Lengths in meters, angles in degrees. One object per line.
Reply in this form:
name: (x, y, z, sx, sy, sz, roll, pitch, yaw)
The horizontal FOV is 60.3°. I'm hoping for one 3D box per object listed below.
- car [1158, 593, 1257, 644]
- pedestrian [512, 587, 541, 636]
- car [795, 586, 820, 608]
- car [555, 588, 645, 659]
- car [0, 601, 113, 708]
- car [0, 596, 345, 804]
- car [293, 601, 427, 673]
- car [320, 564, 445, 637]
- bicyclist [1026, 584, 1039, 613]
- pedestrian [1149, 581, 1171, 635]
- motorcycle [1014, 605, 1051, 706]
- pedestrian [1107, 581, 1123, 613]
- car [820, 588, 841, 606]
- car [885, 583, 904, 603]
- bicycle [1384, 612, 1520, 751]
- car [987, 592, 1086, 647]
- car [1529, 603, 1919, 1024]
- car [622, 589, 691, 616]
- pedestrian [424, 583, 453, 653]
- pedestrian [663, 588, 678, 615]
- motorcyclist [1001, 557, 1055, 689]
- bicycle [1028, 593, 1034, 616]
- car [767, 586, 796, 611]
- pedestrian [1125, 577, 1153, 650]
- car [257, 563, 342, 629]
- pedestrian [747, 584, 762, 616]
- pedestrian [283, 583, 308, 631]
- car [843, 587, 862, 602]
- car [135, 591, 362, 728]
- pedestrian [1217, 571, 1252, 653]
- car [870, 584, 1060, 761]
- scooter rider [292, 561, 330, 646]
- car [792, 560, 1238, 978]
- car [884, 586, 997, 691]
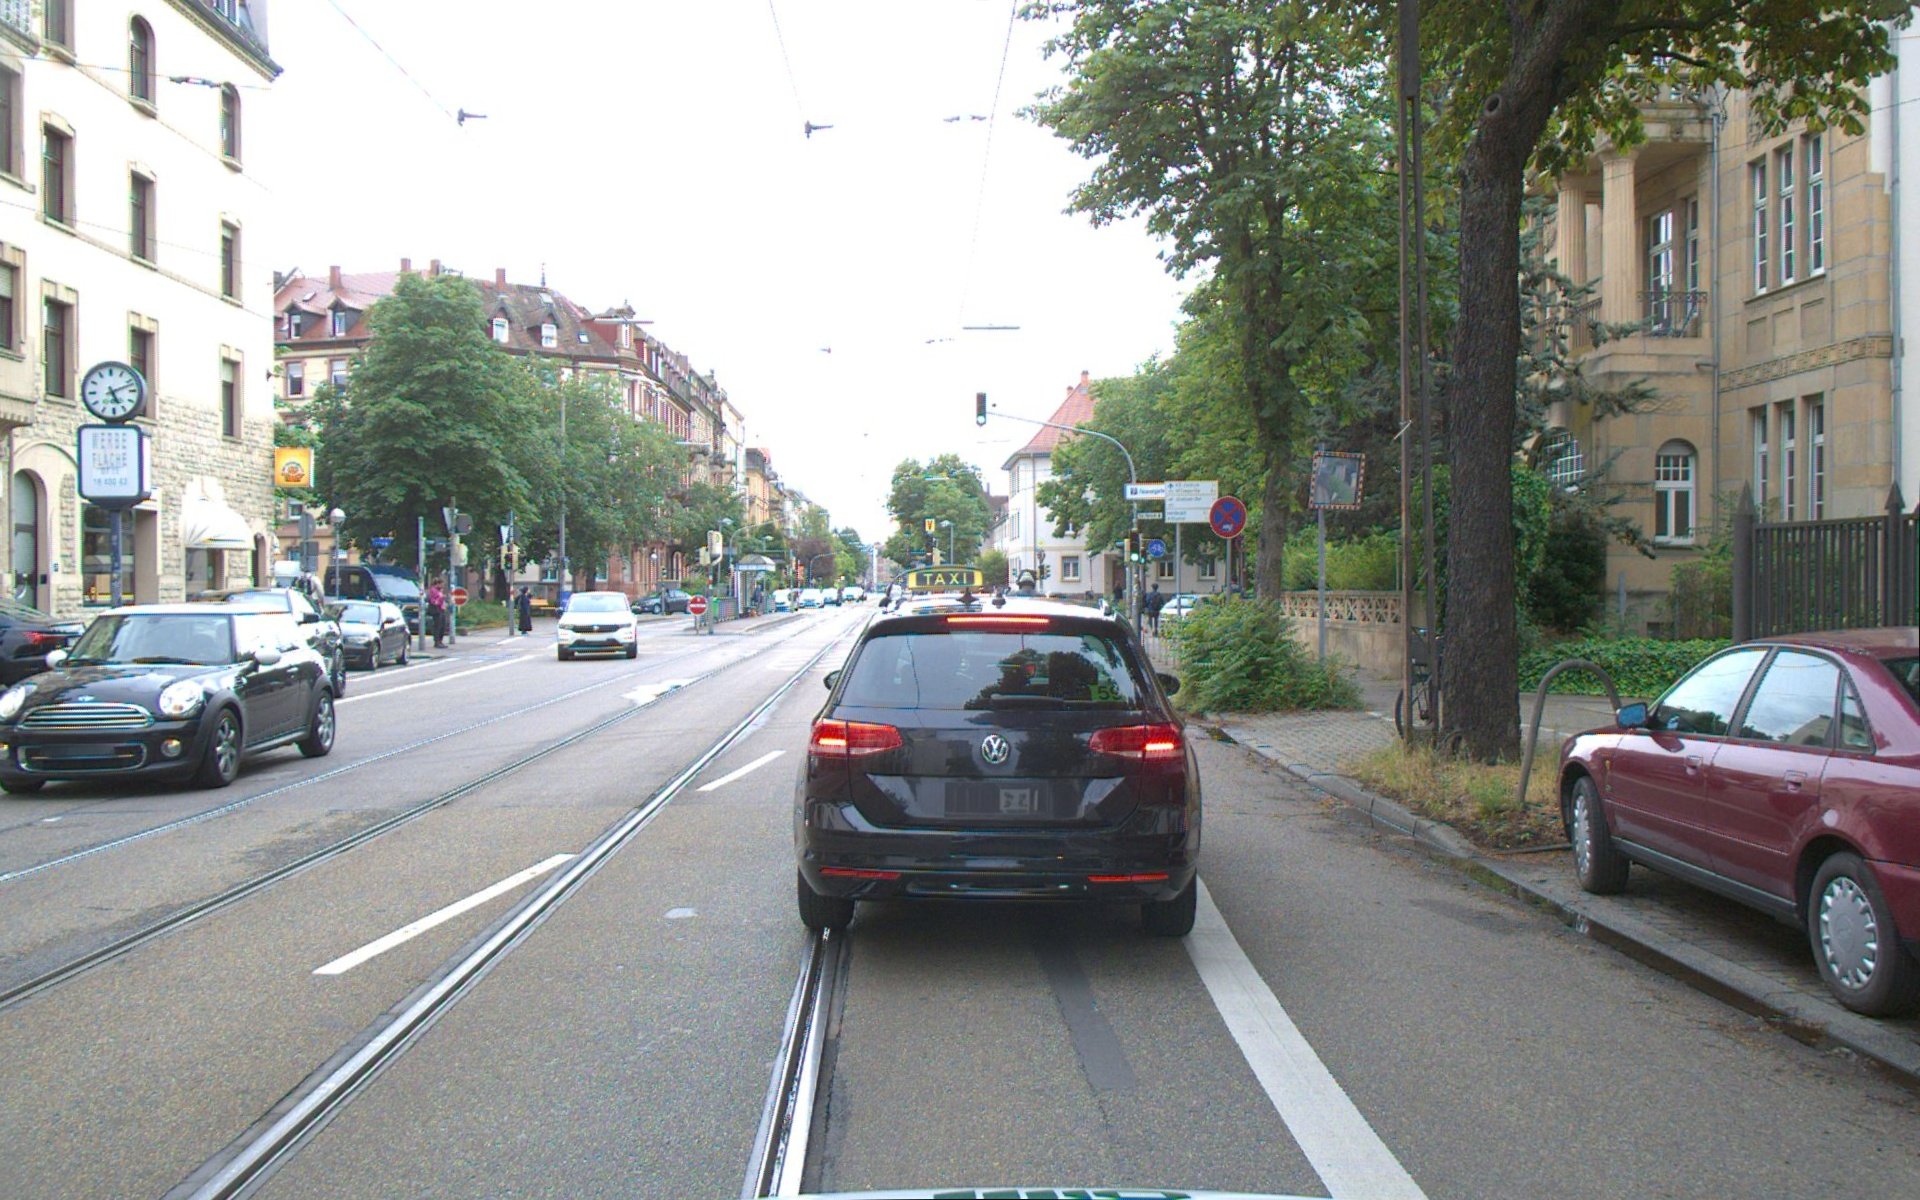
car: (8.147, 0.592, 54.245, 1.956, 1.605, 3.993, 0, 0, 29)
pedestrian: (-15.096, 0.385, 57.618, 0.819, 1.692, 0.591, 0, 0, -1)
car: (-11.642, -0.227, 126.499, 1.686, 1.651, 3.862, -1, 0, -2)
car: (-8.408, 0.512, 38.861, 1.666, 1.522, 3.924, -2, 1, -7)
car: (-14.637, 0.696, 23.324, 4.341, 1.394, 1.878, 2, 0, -7)
car: (-6.457, 0.723, 13.780, 1.577, 1.447, 3.483, -2, 1, -5)
car: (-12.905, 0.762, 35.834, 1.616, 1.385, 4.126, 2, 0, -4)
car: (-20.440, -0.009, 58.390, 2.169, 2.459, 5.293, -1, 0, -44)
bicyclist: (3.898, -0.080, 89.272, 0.637, 1.595, 0.696, -1, 0, 5)
pedestrian: (6.983, 0.282, 57.819, 0.510, 1.862, 0.413, -3, 0, -35)
motorcycle: (0.956, 0.711, 22.007, 0.437, 1.257, 1.907, -1, 0, 1)
pedestrian: (7.737, -0.134, 82.657, 0.604, 1.581, 0.575, 0, 0, -41)
car: (-11.184, -0.286, 143.073, 1.686, 1.490, 3.862, -1, 0, -2)
car: (-6.867, -0.692, 174.205, 1.992, 2.049, 3.998, 1, 0, -2)
bicycle: (4.580, 0.725, 15.318, 0.425, 1.219, 1.892, 0, -1, 43)
car: (2.212, 0.524, 46.989, 1.852, 1.432, 4.002, -1, 1, 17)
car: (4.188, 0.779, 7.541, 1.570, 1.423, 4.226, -2, 1, -2)
car: (-19.077, 0.158, 104.076, 1.960, 1.624, 3.986, -1, 1, 35)
pedestrian: (-14.075, 0.470, 44.617, 0.610, 1.875, 0.609, 0, 0, -4)
pedestrian: (-16.687, 0.101, 95.400, 0.577, 1.547, 0.647, 0, 0, 33)
motorcyclist: (0.897, 0.298, 22.035, 0.688, 1.722, 0.804, -1, 0, 1)
bicycle: (3.831, 0.249, 89.196, 0.291, 1.244, 1.431, -1, 0, 5)
car: (-11.972, -0.102, 111.246, 1.686, 1.651, 3.862, -1, 0, -2)
pedestrian: (4.681, 0.336, 43.295, 0.573, 1.862, 0.604, -3, 0, -1)
car: (-26.830, -0.163, 67.068, 2.159, 2.571, 5.317, -1, 0, -34)
pedestrian: (-10.132, -0.010, 81.540, 0.699, 1.547, 0.590, 0, 0, -1)
pedestrian: (-24.675, 0.264, 61.404, 0.694, 1.745, 0.544, -1, 0, -42)
car: (-11.686, -0.640, 180.185, 1.758, 1.624, 4.000, -1, 0, 1)
car: (-9.975, 0.750, 23.596, 1.849, 1.639, 4.875, -3, 1, -10)
pedestrian: (6.234, 0.267, 37.561, 0.619, 1.846, 0.725, 0, 0, -4)
car: (-0.017, 0.626, 16.716, 1.689, 1.573, 3.999, 0, 0, -2)
scooter rider: (-15.736, 0.082, 40.140, 0.629, 2.049, 0.757, -1, 0, -4)
car: (0.148, 0.619, 8.259, 1.689, 1.573, 3.999, 0, 0, -2)
car: (-0.348, 0.556, 26.702, 1.689, 1.573, 3.999, 0, 0, -2)
